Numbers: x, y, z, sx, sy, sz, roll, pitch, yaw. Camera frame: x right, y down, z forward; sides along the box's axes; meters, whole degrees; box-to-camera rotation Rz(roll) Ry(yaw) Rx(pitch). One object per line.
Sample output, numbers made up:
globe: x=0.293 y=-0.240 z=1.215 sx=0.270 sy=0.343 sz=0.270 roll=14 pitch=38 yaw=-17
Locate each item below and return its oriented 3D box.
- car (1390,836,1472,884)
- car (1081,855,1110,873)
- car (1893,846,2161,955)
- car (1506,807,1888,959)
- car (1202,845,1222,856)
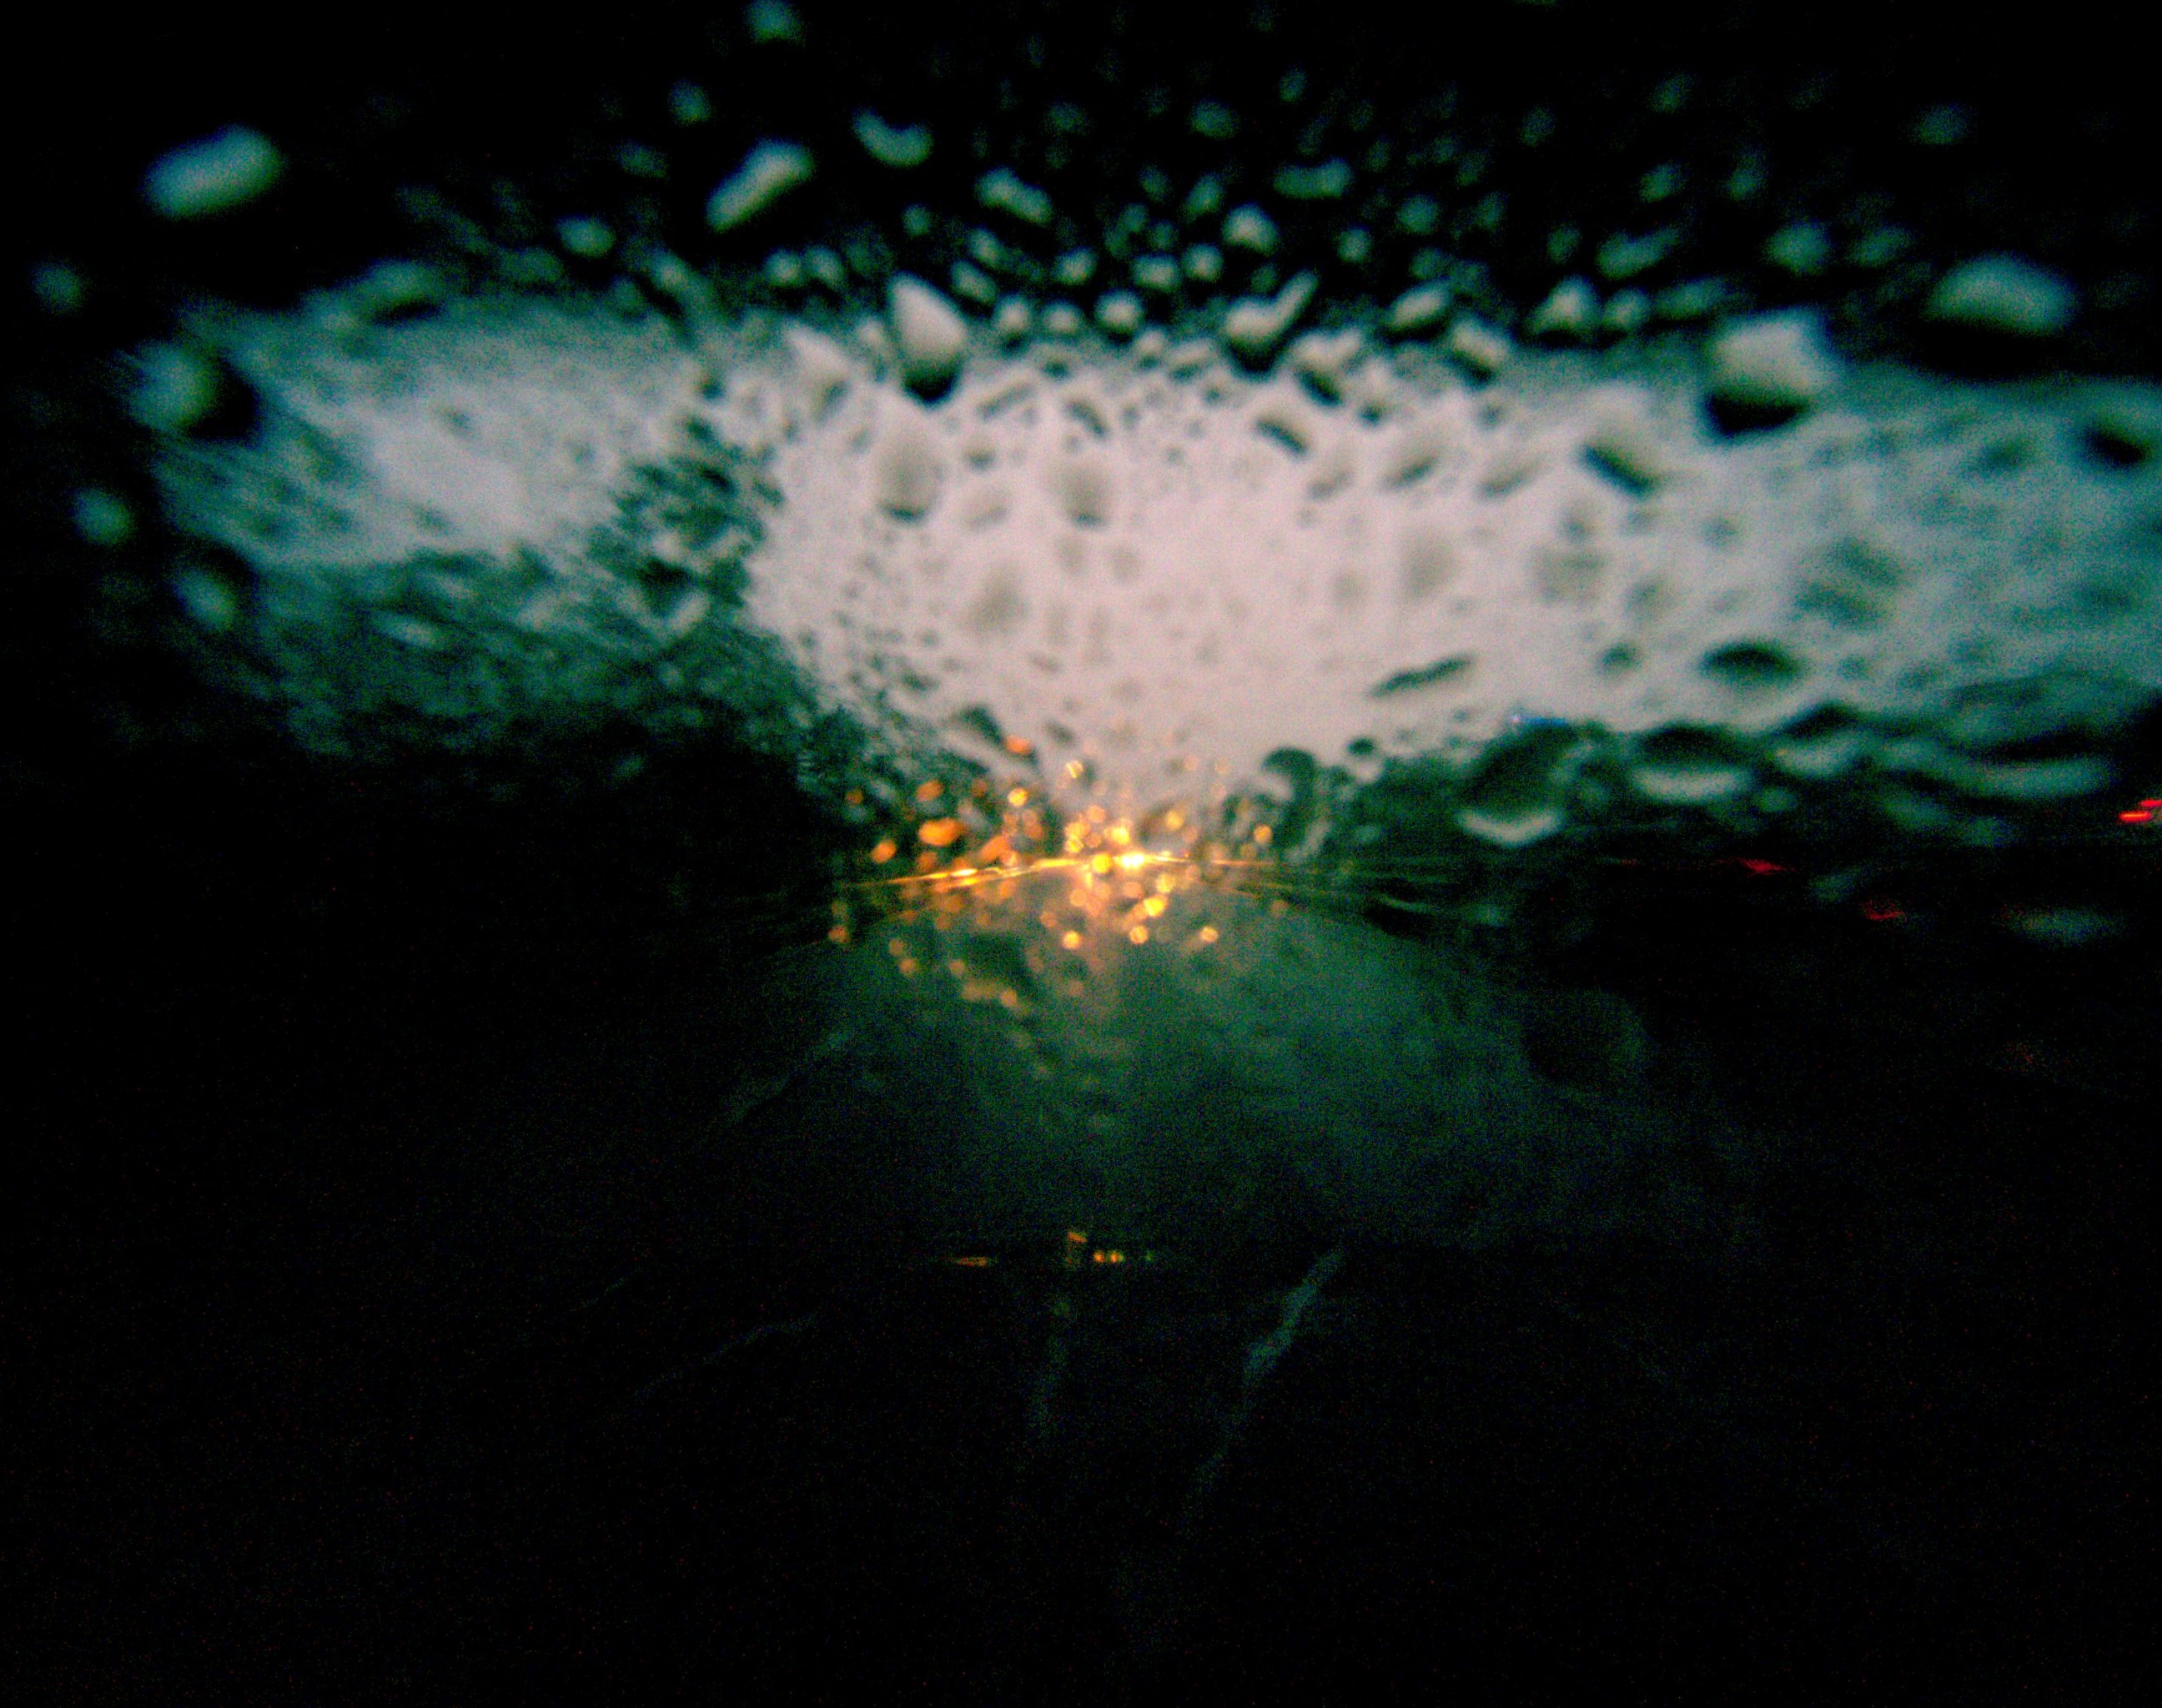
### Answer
car: x=16.630 y=0.284 z=36.329 sx=1.998 sy=2.002 sz=4.000 roll=-4 pitch=0 yaw=1
car: x=1.357 y=0.868 z=69.985 sx=1.951 sy=1.511 sz=4.791 roll=-2 pitch=0 yaw=10
car: x=13.119 y=0.534 z=9.899 sx=1.438 sy=1.215 sz=3.367 roll=-2 pitch=0 yaw=0
car: x=9.607 y=0.396 z=12.667 sx=1.998 sy=1.862 sz=5.270 roll=-4 pitch=0 yaw=0
car: x=22.123 y=-0.637 z=128.448 sx=1.853 sy=1.675 sz=3.997 roll=-4 pitch=0 yaw=-10
